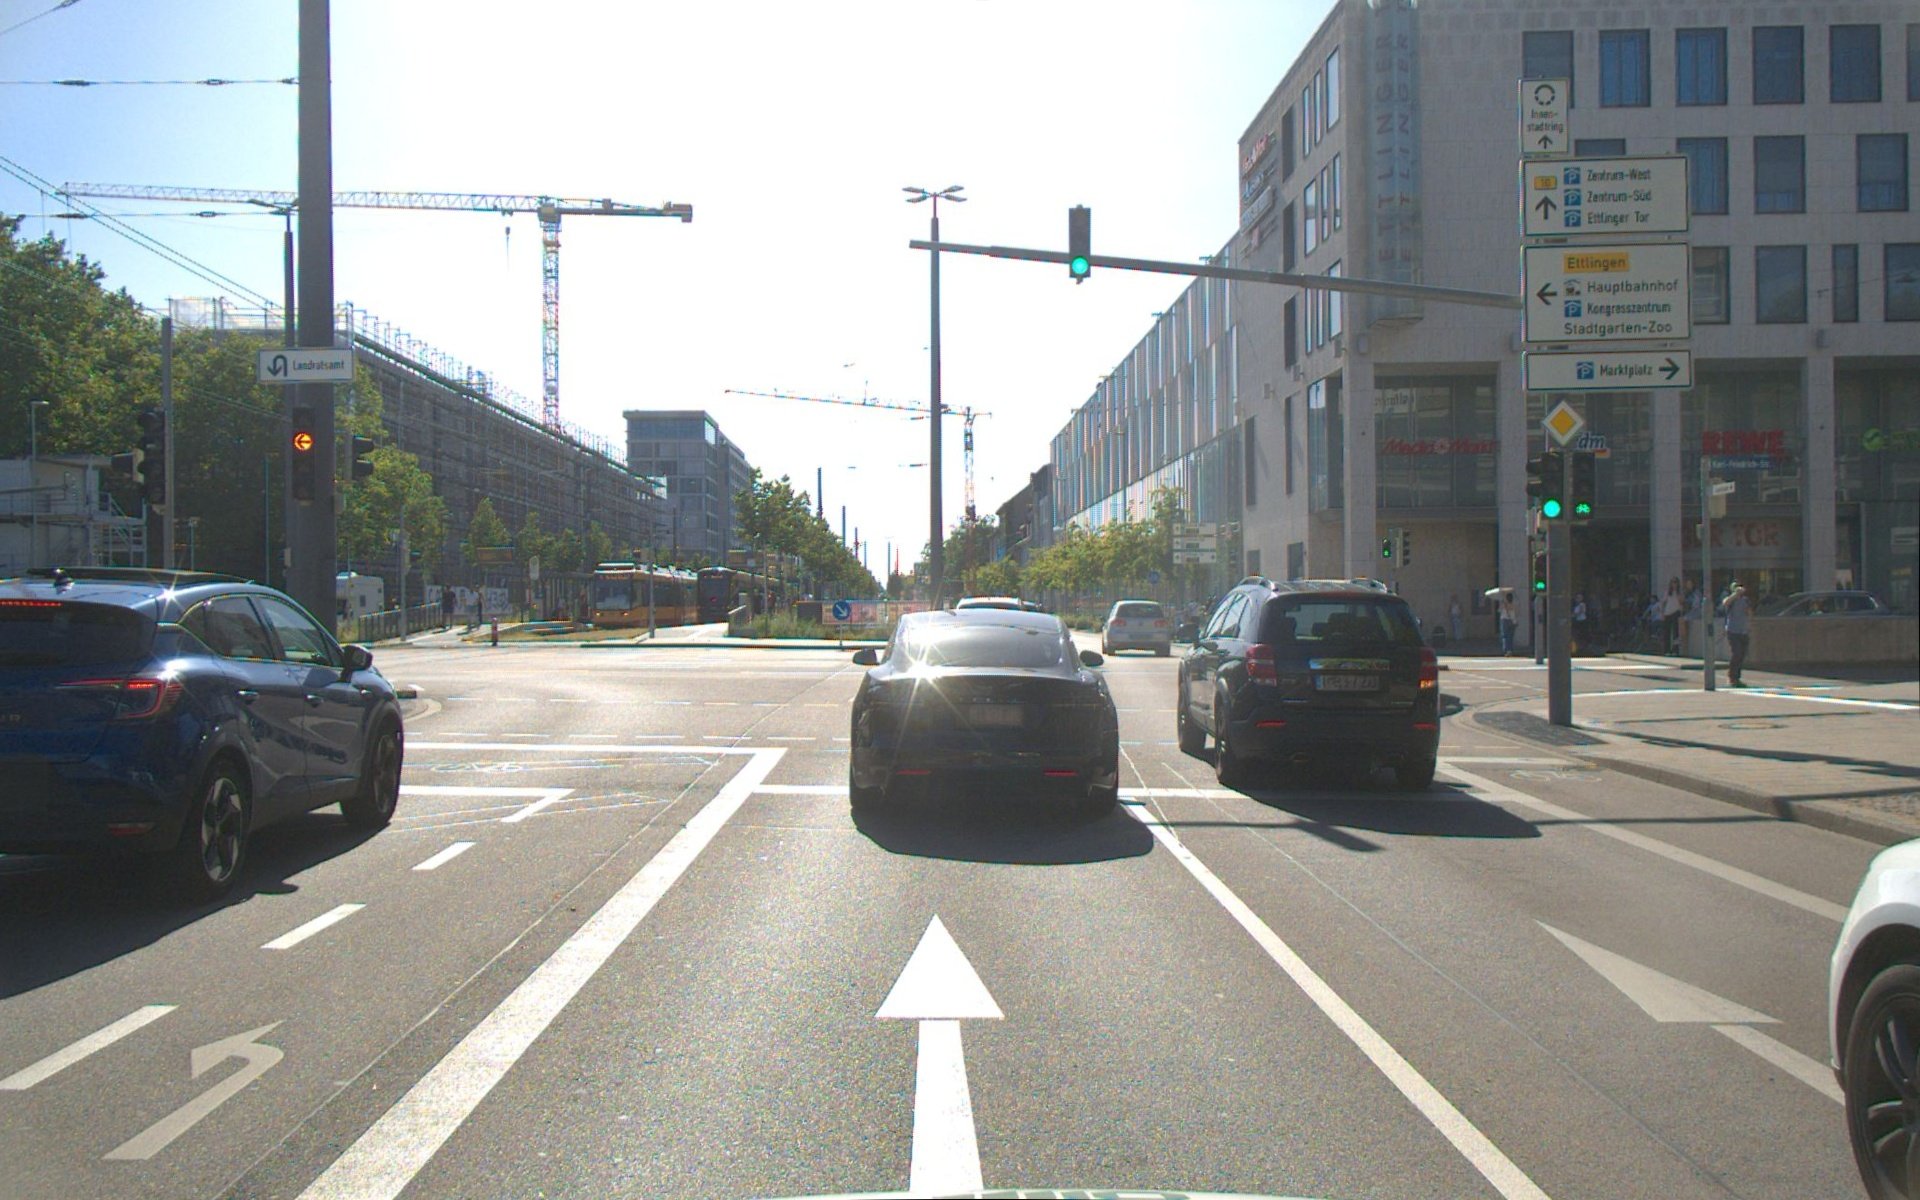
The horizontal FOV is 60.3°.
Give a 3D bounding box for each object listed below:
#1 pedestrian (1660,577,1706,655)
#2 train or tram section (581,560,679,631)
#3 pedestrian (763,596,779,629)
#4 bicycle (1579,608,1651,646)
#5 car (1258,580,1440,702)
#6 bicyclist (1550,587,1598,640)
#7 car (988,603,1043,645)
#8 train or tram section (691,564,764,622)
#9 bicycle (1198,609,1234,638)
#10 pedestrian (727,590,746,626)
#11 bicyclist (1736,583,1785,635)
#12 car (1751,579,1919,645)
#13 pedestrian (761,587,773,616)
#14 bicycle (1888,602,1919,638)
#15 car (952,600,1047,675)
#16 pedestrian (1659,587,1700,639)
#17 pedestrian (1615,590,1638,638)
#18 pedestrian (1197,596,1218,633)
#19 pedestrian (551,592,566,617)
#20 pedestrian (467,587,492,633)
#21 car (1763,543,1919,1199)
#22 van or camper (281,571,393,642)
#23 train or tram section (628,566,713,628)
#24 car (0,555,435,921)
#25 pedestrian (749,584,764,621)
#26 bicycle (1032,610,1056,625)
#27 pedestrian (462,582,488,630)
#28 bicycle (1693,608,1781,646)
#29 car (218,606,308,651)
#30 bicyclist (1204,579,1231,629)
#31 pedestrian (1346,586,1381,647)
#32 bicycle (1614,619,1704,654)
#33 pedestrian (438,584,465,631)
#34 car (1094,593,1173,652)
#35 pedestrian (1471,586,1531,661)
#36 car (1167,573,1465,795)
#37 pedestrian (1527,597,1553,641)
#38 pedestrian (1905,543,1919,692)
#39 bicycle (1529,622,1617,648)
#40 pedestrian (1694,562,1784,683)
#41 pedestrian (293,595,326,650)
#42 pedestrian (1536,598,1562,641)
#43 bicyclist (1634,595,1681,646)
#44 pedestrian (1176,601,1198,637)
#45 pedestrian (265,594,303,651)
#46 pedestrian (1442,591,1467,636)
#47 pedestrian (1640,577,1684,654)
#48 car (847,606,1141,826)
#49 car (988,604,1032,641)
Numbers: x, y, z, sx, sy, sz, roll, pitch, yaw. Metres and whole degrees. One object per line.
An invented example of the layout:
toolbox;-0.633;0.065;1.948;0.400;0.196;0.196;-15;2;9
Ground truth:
pedestrian;15.515;0.340;35.493;0.648;1.641;0.526;-2;0;-10
train or tram section;-17.019;-0.208;86.265;2.812;3.367;13.067;1;0;-2
pedestrian;-9.637;0.635;84.248;0.726;1.657;0.861;0;-1;-1
bicycle;20.108;0.811;50.875;1.044;1.113;2.991;0;0;0
car;6.224;0.589;26.142;1.751;1.764;4.156;0;0;29
bicyclist;17.661;0.382;47.595;1.000;1.502;1.072;-1;0;2
car;1.836;0.773;55.625;1.681;1.343;3.999;0;0;-1
train or tram section;-14.436;-0.377;103.856;2.812;3.337;15.179;1;0;-2
bicycle;9.156;0.826;59.184;0.714;1.001;2.330;0;0;-5
pedestrian;-11.456;0.393;84.924;0.857;1.806;1.188;1;0;-5
bicyclist;22.998;0.253;47.531;0.913;1.458;1.041;-1;0;2
car;23.287;0.327;43.473;4.099;1.641;1.861;-1;-2;1
pedestrian;-12.161;0.083;104.303;0.658;1.842;1.074;-1;-1;-3
bicycle;29.760;0.604;50.417;1.044;1.113;3.498;0;0;1
car;0.703;0.681;31.999;1.681;1.343;3.999;0;0;-1
pedestrian;24.072;0.428;55.351;0.957;1.713;0.860;0;0;-4
pedestrian;25.632;0.531;63.624;0.551;1.793;0.641;-1;1;-38
pedestrian;11.575;0.669;77.362;0.693;1.687;0.899;-2;0;-6
pedestrian;-20.901;0.243;86.055;0.658;1.248;0.505;1;-1;-5
pedestrian;-19.803;0.402;68.223;0.784;1.855;0.975;0;0;-4
car;3.202;0.688;2.530;1.782;1.642;4.412;0;0;-1
van or camper;-27.878;0.282;74.385;2.553;2.988;7.337;-1;0;-3
train or tram section;-17.440;-0.194;100.800;2.790;3.379;15.960;1;0;-2
car;-4.469;0.610;9.384;1.734;1.616;4.087;1;0;-2
pedestrian;-10.088;0.129;81.946;0.689;1.806;0.958;1;0;-5
bicycle;6.830;1.396;134.264;1.848;1.171;0.669;-2;0;-12
pedestrian;-18.942;0.236;64.590;0.784;1.855;0.975;0;0;-4
bicycle;23.660;0.804;50.458;1.044;1.113;3.497;0;0;0
car;-27.795;1.108;66.090;1.907;1.737;4.364;0;0;-3
bicyclist;9.161;0.156;58.864;0.710;1.767;0.996;-1;-1;-5
pedestrian;12.487;0.509;51.206;0.713;1.833;1.066;-2;0;-2
bicycle;20.088;1.053;47.559;2.147;0.960;1.072;-1;0;2
pedestrian;-20.333;0.307;66.143;0.784;1.855;0.975;0;0;-4
car;4.764;0.591;45.841;1.748;1.573;4.038;0;0;-1
pedestrian;13.909;0.596;42.567;0.947;1.833;1.522;-2;0;-2
car;3.061;0.652;15.148;1.748;1.729;4.412;0;0;-1
pedestrian;22.028;0.713;62.859;0.551;1.636;0.740;-1;1;-38
pedestrian;13.729;0.241;22.612;0.929;2.049;1.077;0;0;-9
bicycle;17.628;1.002;47.580;2.147;0.683;1.072;-1;0;2
pedestrian;13.411;0.378;28.496;0.930;2.049;1.076;0;0;-13
pedestrian;-22.221;0.760;56.492;0.784;1.855;0.975;0;0;-4
pedestrian;22.532;0.729;63.277;0.551;1.636;0.740;-1;1;-38
bicyclist;20.045;0.581;47.557;0.913;1.420;1.077;-1;0;2
pedestrian;10.642;0.882;77.571;0.805;1.687;0.899;0;0;-6
pedestrian;-22.430;0.735;54.897;0.785;1.855;0.880;-1;0;31
pedestrian;18.035;0.485;60.297;0.732;1.636;0.556;-1;0;-3
pedestrian;15.296;0.333;36.029;0.648;1.641;0.526;-2;0;-10
car;0.212;0.788;13.282;1.958;1.459;4.412;0;0;-1
car;2.063;0.906;68.982;1.681;1.457;3.999;0;0;-1
